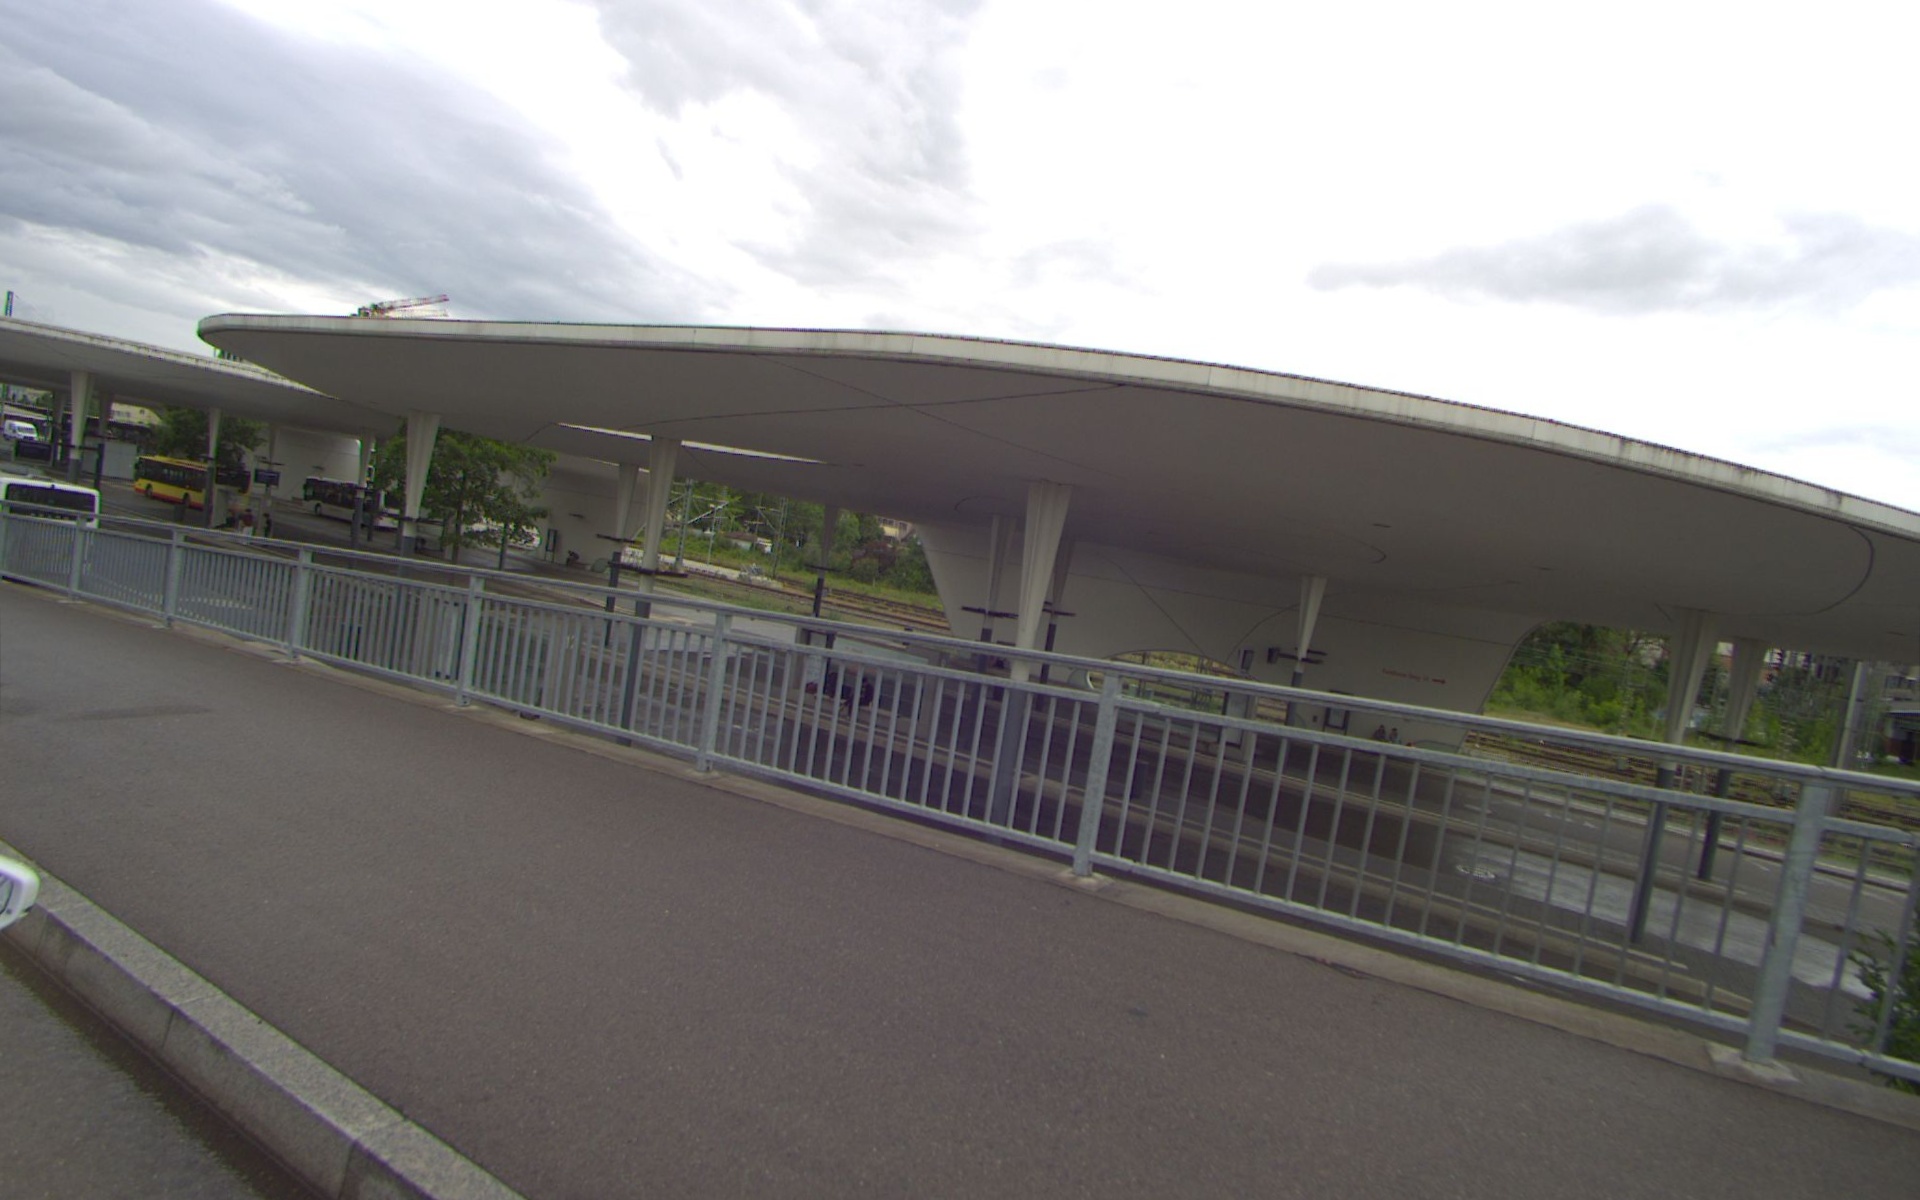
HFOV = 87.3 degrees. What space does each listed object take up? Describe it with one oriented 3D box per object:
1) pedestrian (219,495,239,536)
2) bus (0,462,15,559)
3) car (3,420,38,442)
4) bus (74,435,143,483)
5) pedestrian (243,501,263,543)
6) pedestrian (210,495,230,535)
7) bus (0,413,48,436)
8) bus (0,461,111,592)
[{"bbox_3d":[-38.197,-4.392,52.552,0.570,2.040,0.544,8,3,33],"label":"pedestrian"},{"bbox_3d":[-36.729,-3.709,35.558,6.948,3.279,2.649,12,4,28],"label":"bus"},{"bbox_3d":[-112.757,-20.269,120.747,3.933,2.040,1.995,9,3,32],"label":"car"},{"bbox_3d":[-73.025,-12.106,86.207,6.880,3.252,2.600,9,3,34],"label":"bus"},{"bbox_3d":[-35.720,-3.956,50.852,0.475,2.040,0.560,8,3,34],"label":"pedestrian"},{"bbox_3d":[-39.292,-4.521,53.434,0.570,2.040,0.544,8,3,33],"label":"pedestrian"},{"bbox_3d":[-122.236,-22.743,127.069,2.132,2.039,10.182,8,1,29],"label":"bus"},{"bbox_3d":[-30.651,-2.610,32.235,6.948,3.275,2.652,12,2,28],"label":"bus"}]
